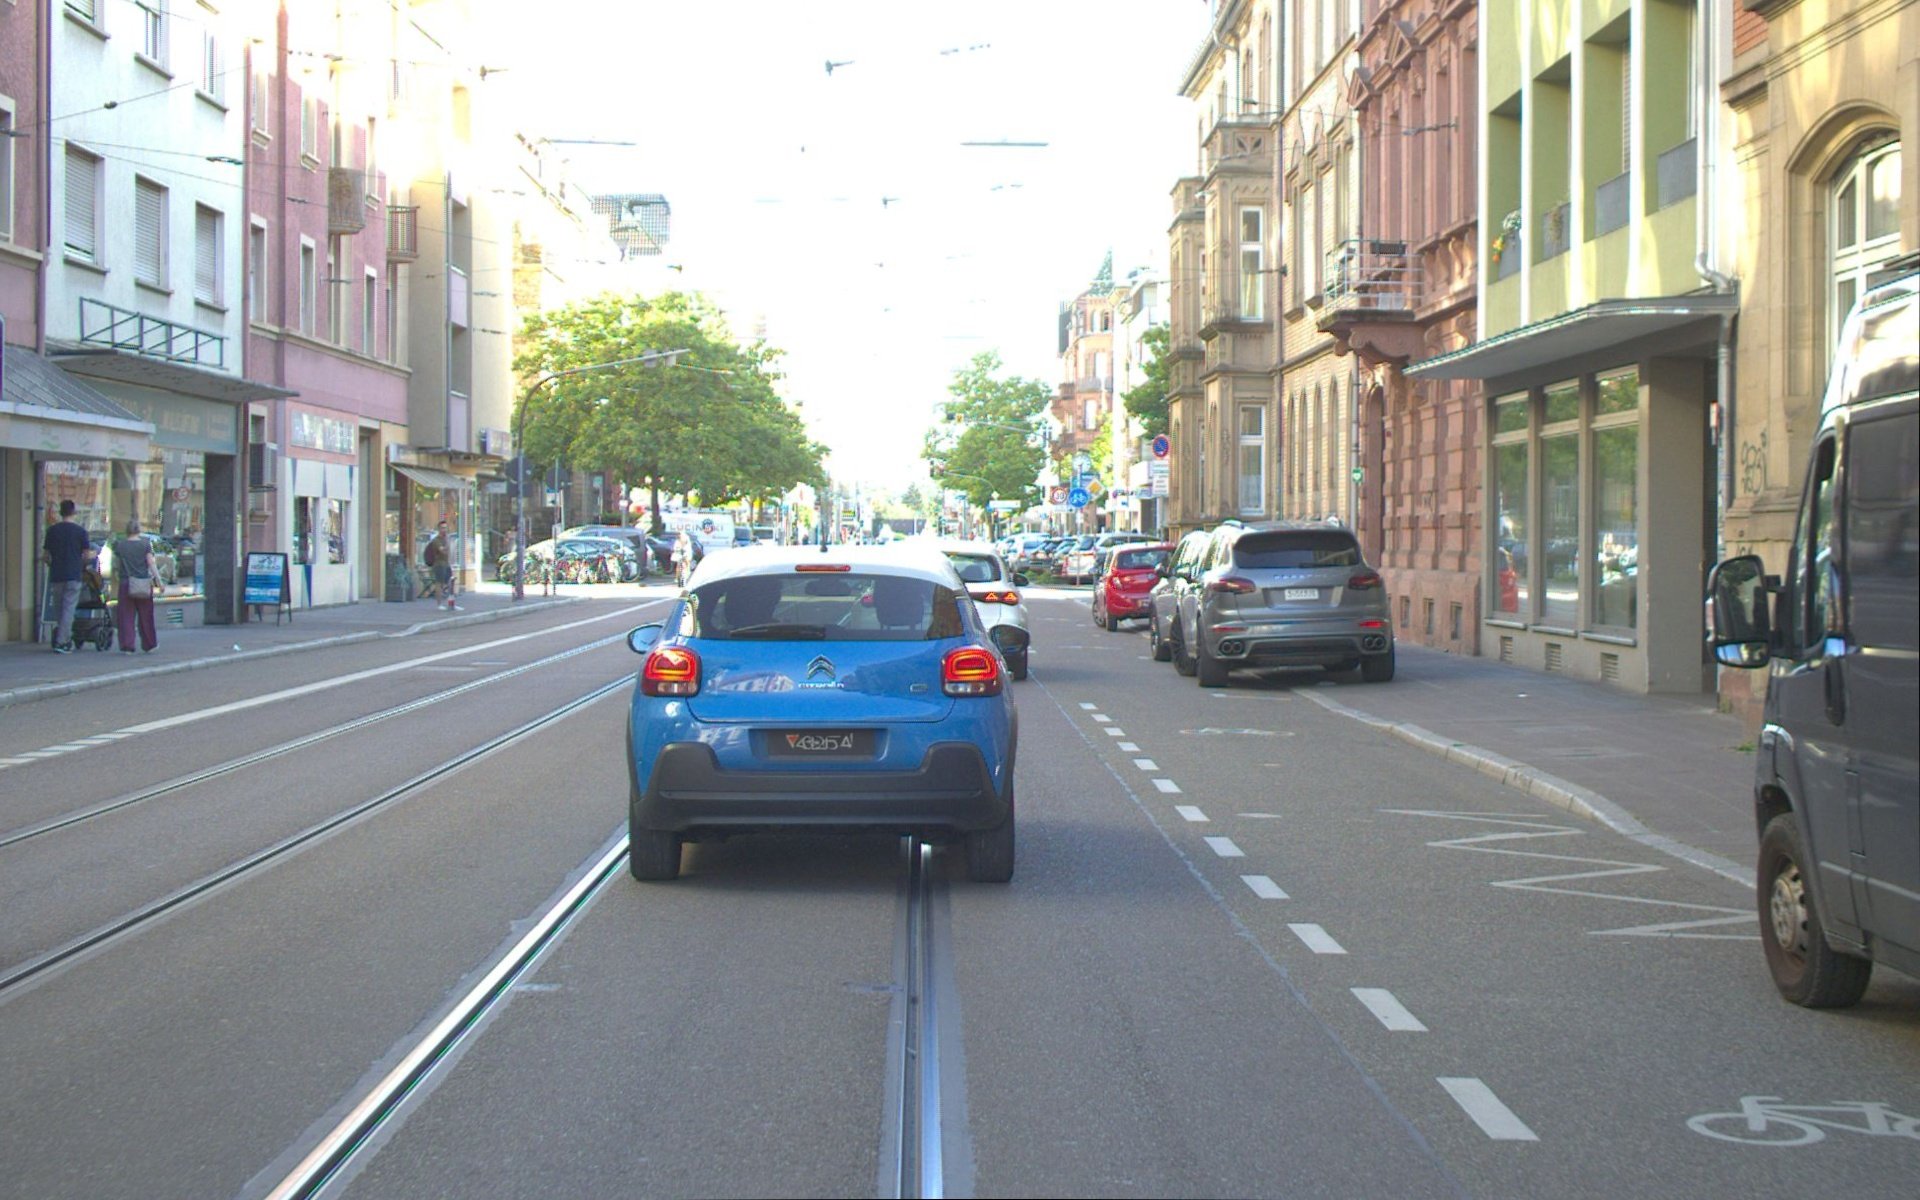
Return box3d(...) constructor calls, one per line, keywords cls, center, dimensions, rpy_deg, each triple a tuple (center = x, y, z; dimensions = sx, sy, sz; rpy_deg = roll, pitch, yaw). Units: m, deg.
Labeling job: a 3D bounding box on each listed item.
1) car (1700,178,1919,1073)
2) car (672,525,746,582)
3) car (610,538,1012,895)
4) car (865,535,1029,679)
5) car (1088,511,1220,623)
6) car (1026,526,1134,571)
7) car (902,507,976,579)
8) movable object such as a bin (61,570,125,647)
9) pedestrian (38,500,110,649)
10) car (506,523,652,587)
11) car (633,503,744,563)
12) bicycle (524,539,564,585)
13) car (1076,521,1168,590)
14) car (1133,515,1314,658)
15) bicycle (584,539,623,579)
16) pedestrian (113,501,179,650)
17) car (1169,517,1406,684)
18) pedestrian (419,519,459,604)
box3d(cls="car", center=(3.742, 0.060, 9.455), dimensions=(2.271, 2.428, 5.720), rpy_deg=(-1, 1, 1))
box3d(cls="car", center=(-7.339, -1.372, 100.717), dimensions=(1.993, 1.645, 4.000), rpy_deg=(0, 1, -2))
box3d(cls="car", center=(-0.653, 0.449, 16.318), dimensions=(1.674, 1.472, 4.000), rpy_deg=(0, 1, -1))
box3d(cls="car", center=(-0.185, 0.034, 37.276), dimensions=(1.667, 1.473, 4.001), rpy_deg=(0, 1, -2))
box3d(cls="car", center=(3.381, -0.618, 60.778), dimensions=(2.005, 1.666, 4.392), rpy_deg=(-1, 4, -1))
box3d(cls="car", center=(4.387, -1.891, 126.223), dimensions=(3.835, 1.612, 1.792), rpy_deg=(0, 1, -3))
box3d(cls="car", center=(-0.617, -1.637, 98.222), dimensions=(1.993, 2.007, 4.001), rpy_deg=(0, 1, -2))
box3d(cls="movable object such as a bin", center=(-10.481, 0.095, 41.579), dimensions=(0.610, 0.911, 0.695), rpy_deg=(0, 1, -1))
box3d(cls="pedestrian", center=(-10.533, -0.306, 40.881), dimensions=(0.710, 1.758, 0.570), rpy_deg=(0, 1, -2))
box3d(cls="car", center=(-11.937, -1.419, 107.935), dimensions=(4.308, 2.010, 2.209), rpy_deg=(0, 1, 1))
box3d(cls="car", center=(-11.836, -2.931, 149.797), dimensions=(4.307, 2.572, 2.210), rpy_deg=(-1, 1, -26))
box3d(cls="bicycle", center=(-12.200, -1.136, 100.846), dimensions=(1.120, 1.315, 3.645), rpy_deg=(0, 1, -6))
box3d(cls="car", center=(3.974, -1.122, 85.209), dimensions=(2.005, 1.667, 4.391), rpy_deg=(0, 1, -1))
box3d(cls="car", center=(3.334, -0.208, 44.190), dimensions=(1.905, 1.751, 4.000), rpy_deg=(0, 1, -2))
box3d(cls="bicycle", center=(-10.491, -1.211, 101.111), dimensions=(1.120, 1.142, 3.645), rpy_deg=(0, 1, -6))
box3d(cls="pedestrian", center=(-9.710, -0.300, 41.029), dimensions=(0.710, 1.758, 0.655), rpy_deg=(0, 1, -9))
box3d(cls="car", center=(3.407, -0.047, 36.672), dimensions=(2.005, 1.667, 4.806), rpy_deg=(0, 1, -1))
box3d(cls="pedestrian", center=(-10.087, -0.742, 66.536), dimensions=(0.685, 1.633, 0.675), rpy_deg=(0, 1, -2))
